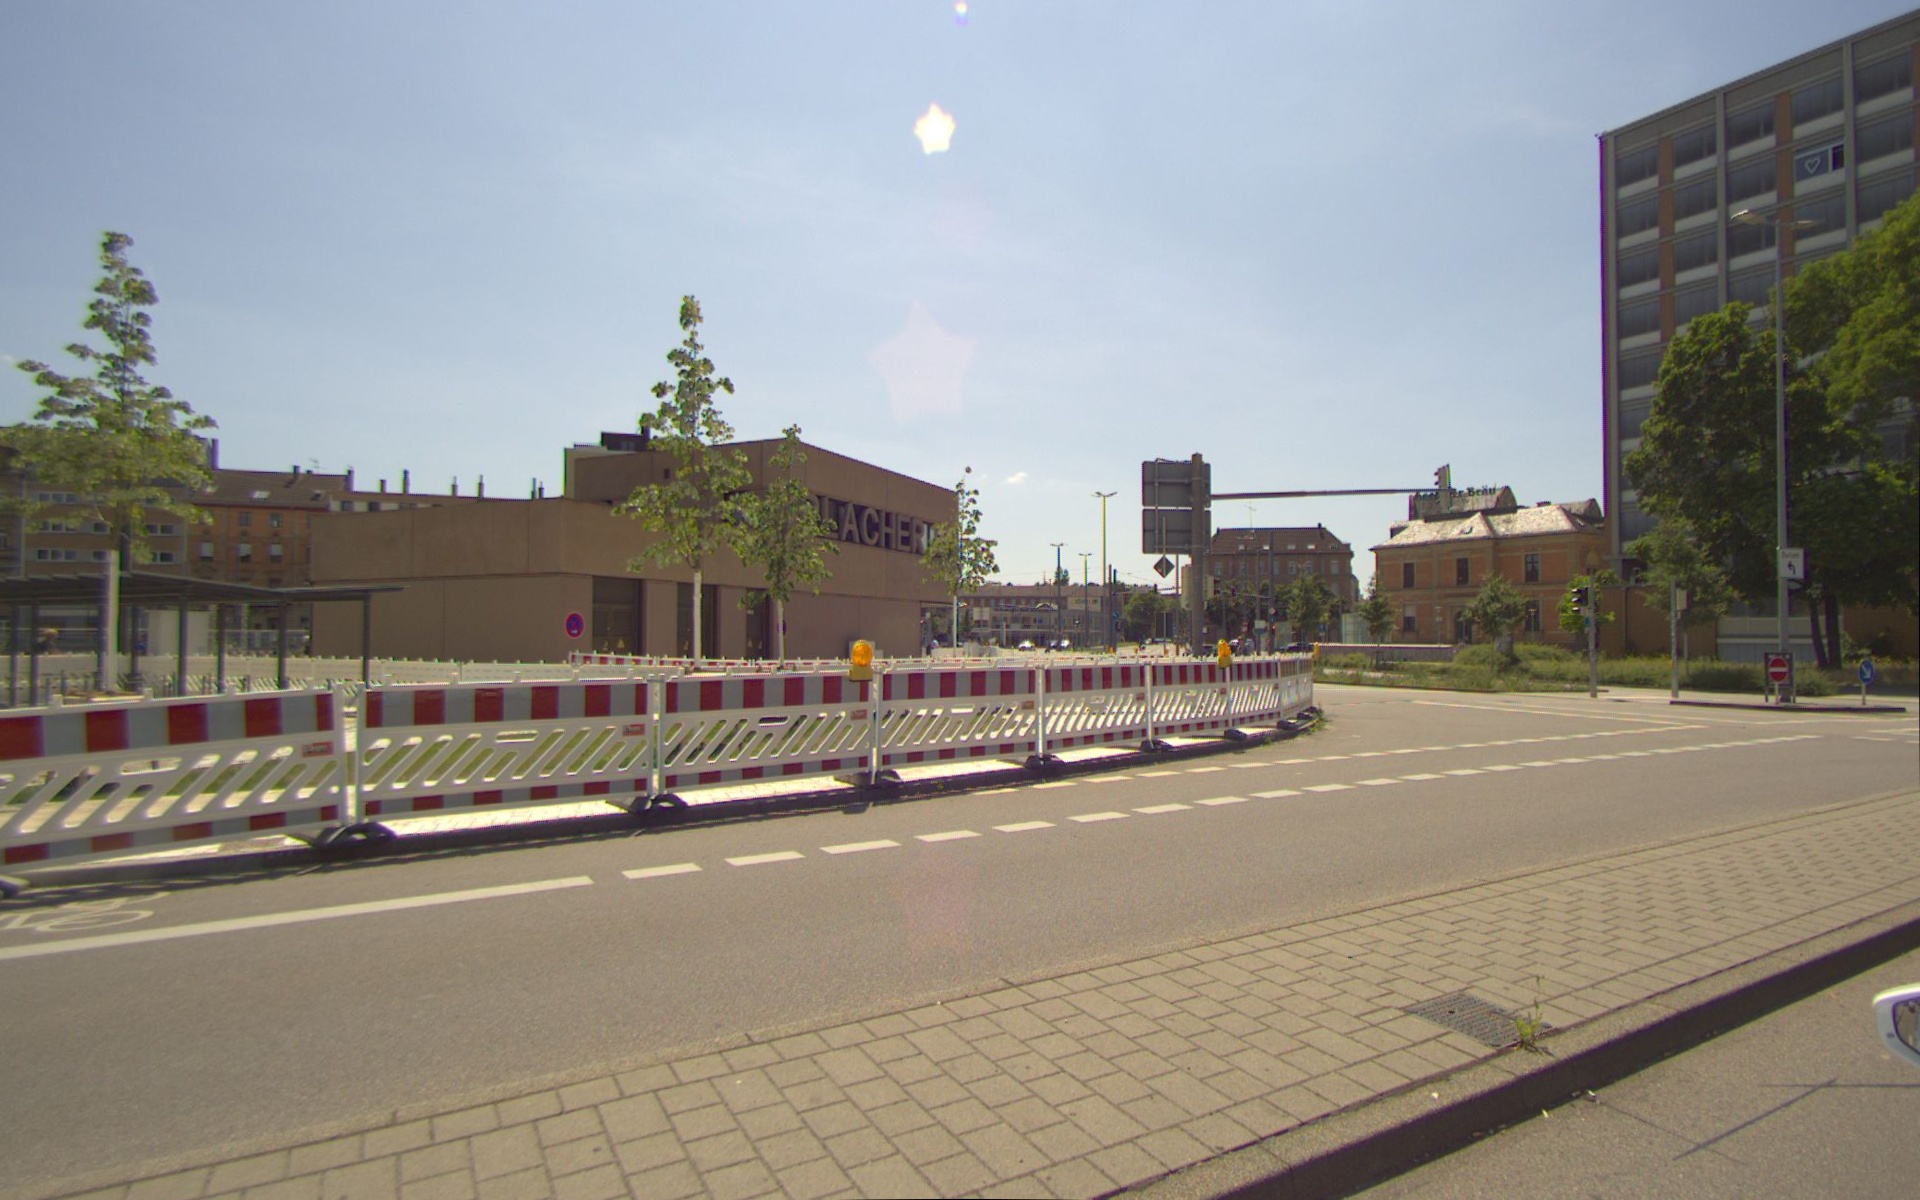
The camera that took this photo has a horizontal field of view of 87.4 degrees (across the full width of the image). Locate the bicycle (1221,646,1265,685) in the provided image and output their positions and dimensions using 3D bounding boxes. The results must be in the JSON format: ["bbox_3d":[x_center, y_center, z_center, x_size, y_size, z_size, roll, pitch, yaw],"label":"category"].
[{"bbox_3d":[8.962,2.060,31.898,0.515,1.196,1.894,1,-3,-13],"label":"bicycle"}]

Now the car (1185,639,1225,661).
[{"bbox_3d":[18.247,3.715,74.962,1.689,1.577,4.587,1,-2,-2],"label":"car"}]

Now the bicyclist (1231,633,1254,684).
[{"bbox_3d":[8.958,1.855,31.864,0.522,1.600,0.497,1,-3,-13],"label":"bicyclist"}]

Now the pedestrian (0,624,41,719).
[{"bbox_3d":[-21.042,1.571,22.284,0.747,2.040,0.646,1,0,19],"label":"pedestrian"}]

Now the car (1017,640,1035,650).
[{"bbox_3d":[9.158,6.180,138.929,1.592,1.408,4.127,0,-2,15],"label":"car"}]

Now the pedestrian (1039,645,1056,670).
[{"bbox_3d":[7.122,4.670,81.988,1.161,1.959,0.901,1,0,-8],"label":"pedestrian"}]

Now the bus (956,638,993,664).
[{"bbox_3d":[0.811,2.920,58.259,1.225,1.266,5.812,1,0,-8],"label":"bus"}]
